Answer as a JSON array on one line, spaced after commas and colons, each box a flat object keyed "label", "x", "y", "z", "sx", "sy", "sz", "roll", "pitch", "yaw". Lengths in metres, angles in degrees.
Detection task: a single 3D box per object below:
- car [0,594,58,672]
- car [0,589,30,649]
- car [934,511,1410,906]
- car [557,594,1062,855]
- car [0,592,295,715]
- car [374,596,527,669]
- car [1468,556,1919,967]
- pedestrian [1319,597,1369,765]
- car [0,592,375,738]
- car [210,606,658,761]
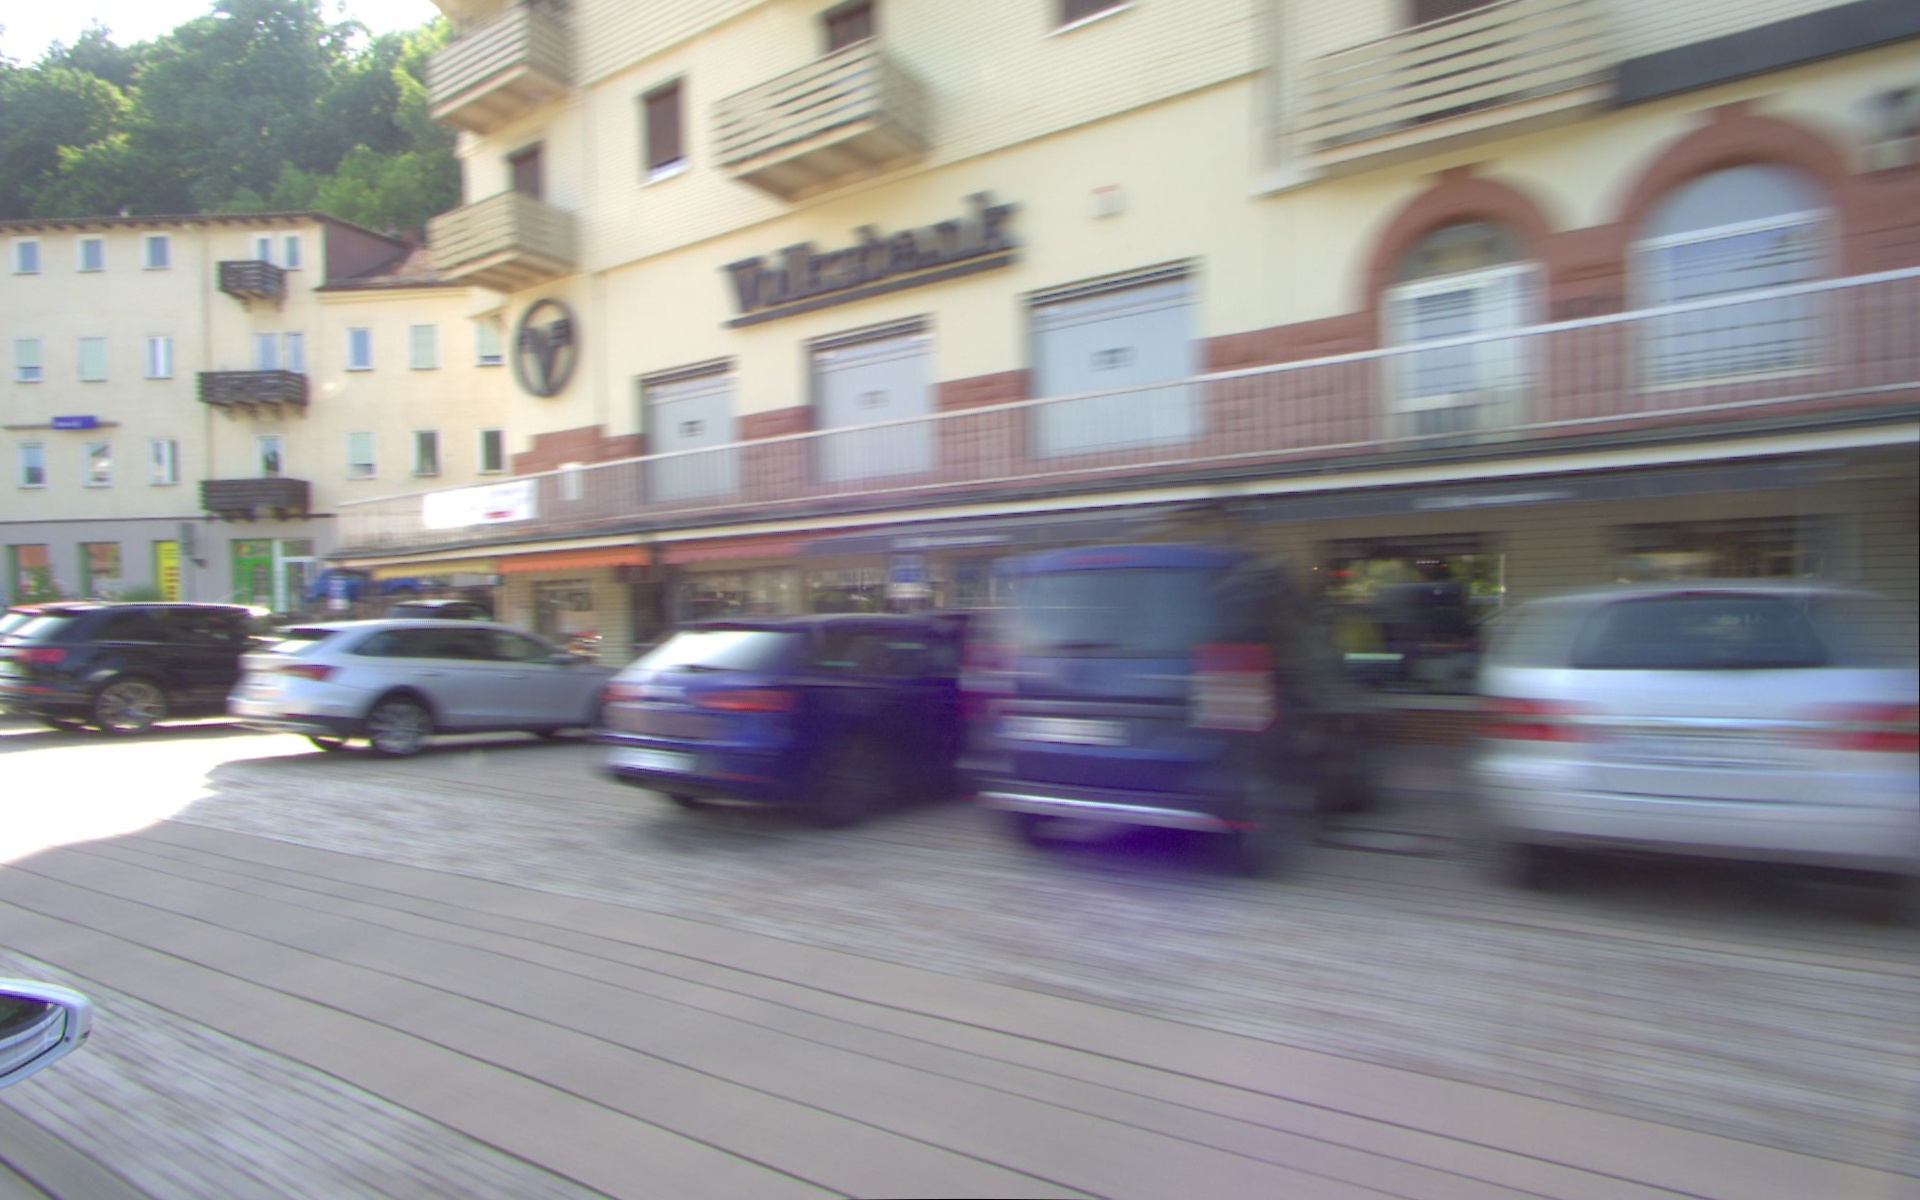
[{"label": "car", "x": -20.639, "y": 0.740, "z": 19.654, "sx": 1.739, "sy": 1.537, "sz": 4.016, "roll": 1, "pitch": 3, "yaw": 14}, {"label": "car", "x": -34.273, "y": 0.598, "z": 34.055, "sx": 3.606, "sy": 2.040, "sz": 1.863, "roll": 1, "pitch": 0, "yaw": 3}, {"label": "car", "x": 1.697, "y": 0.618, "z": 6.786, "sx": 1.832, "sy": 1.826, "sz": 3.902, "roll": -1, "pitch": -3, "yaw": 34}, {"label": "car", "x": -0.881, "y": 0.818, "z": 7.817, "sx": 1.712, "sy": 1.479, "sz": 3.902, "roll": 0, "pitch": -3, "yaw": 34}, {"label": "car", "x": -13.223, "y": 0.839, "z": 16.013, "sx": 1.748, "sy": 1.722, "sz": 3.902, "roll": 1, "pitch": -2, "yaw": 34}, {"label": "car", "x": -12.459, "y": 0.733, "z": 24.770, "sx": 1.738, "sy": 1.631, "sz": 3.921, "roll": 1, "pitch": 1, "yaw": 1}, {"label": "car", "x": 4.256, "y": 0.715, "z": 5.956, "sx": 1.750, "sy": 1.609, "sz": 3.902, "roll": 0, "pitch": -2, "yaw": 34}, {"label": "pedestrian", "x": 3.940, "y": 0.818, "z": 10.290, "sx": 0.427, "sy": 1.681, "sz": 0.456, "roll": -1, "pitch": 2, "yaw": 16}, {"label": "car", "x": -10.612, "y": 0.863, "z": 13.748, "sx": 1.748, "sy": 1.687, "sz": 4.076, "roll": 0, "pitch": -3, "yaw": 34}, {"label": "car", "x": -5.927, "y": 0.959, "z": 11.822, "sx": 1.750, "sy": 1.478, "sz": 4.346, "roll": -2, "pitch": -5, "yaw": 36}]
